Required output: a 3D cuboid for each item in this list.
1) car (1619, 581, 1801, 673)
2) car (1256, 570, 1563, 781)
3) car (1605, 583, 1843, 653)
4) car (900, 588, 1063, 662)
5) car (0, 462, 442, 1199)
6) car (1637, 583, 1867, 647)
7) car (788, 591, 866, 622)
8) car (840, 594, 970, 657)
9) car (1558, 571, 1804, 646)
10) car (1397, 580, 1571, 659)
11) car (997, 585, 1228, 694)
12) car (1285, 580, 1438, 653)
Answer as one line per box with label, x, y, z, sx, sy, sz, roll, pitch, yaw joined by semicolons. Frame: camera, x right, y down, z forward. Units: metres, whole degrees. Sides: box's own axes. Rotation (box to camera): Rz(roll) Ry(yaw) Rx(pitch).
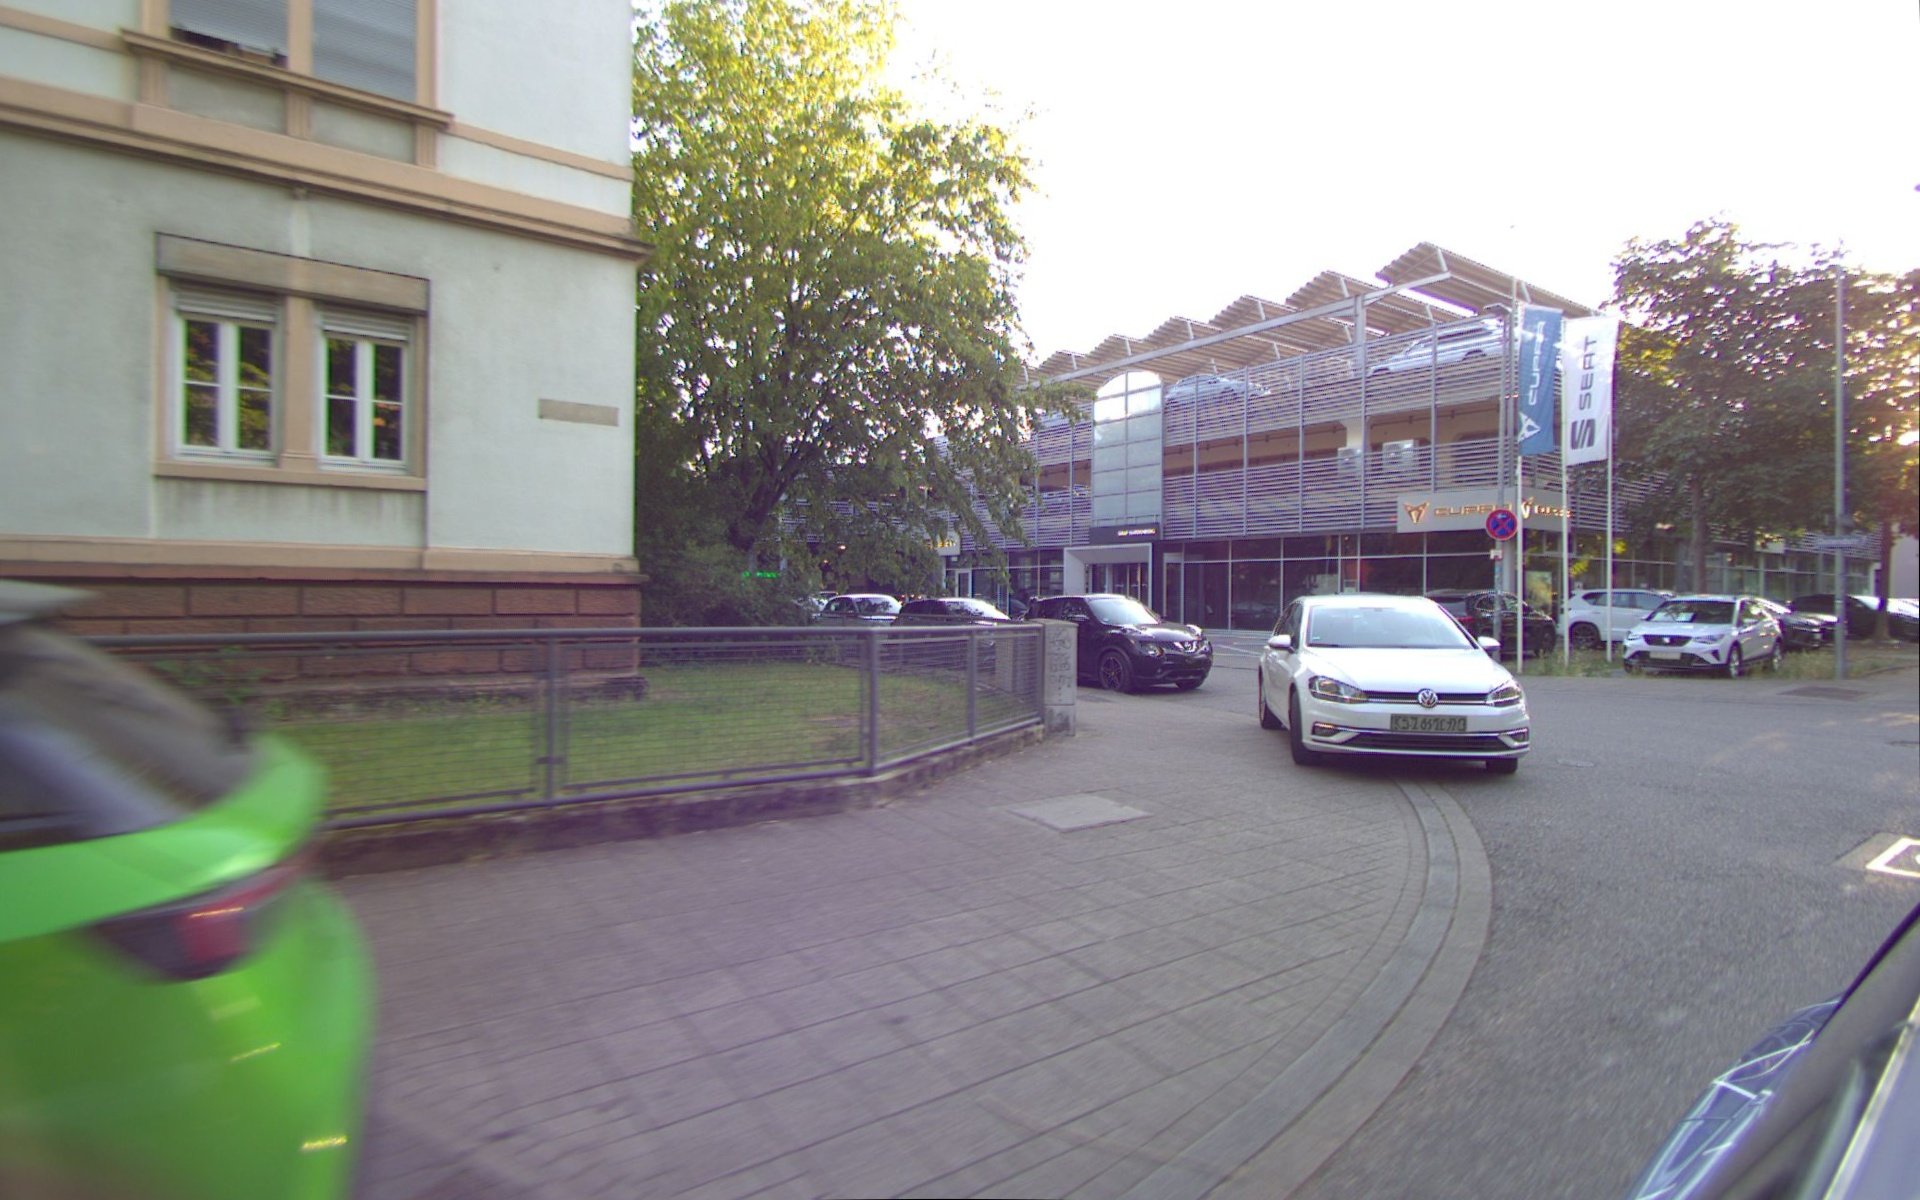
car;14.396;0.463;19.372;3.829;1.592;1.768;0;0;-37
car;3.901;0.553;9.544;1.784;1.520;4.157;0;0;12
car;19.605;0.426;26.178;1.837;1.637;4.590;1;-1;-36
car;0.373;0.482;21.758;1.601;1.453;3.786;2;0;-34
car;-2.853;0.565;1.029;3.888;1.576;1.736;1;2;-37
car;21.281;0.377;27.371;1.837;1.592;4.590;1;-1;-36
car;-7.192;0.344;54.850;3.849;1.587;1.634;1;0;-32
car;-1.456;0.613;25.399;1.601;1.453;3.687;2;-1;-34
car;17.505;0.197;24.793;1.837;1.664;4.590;1;-1;-36
car;11.838;0.382;22.798;4.048;1.626;1.718;-1;0;-34
car;2.385;0.549;16.723;1.601;1.565;3.945;-1;1;-32
car;10.058;0.370;25.293;3.622;1.611;1.707;-2;1;-32
